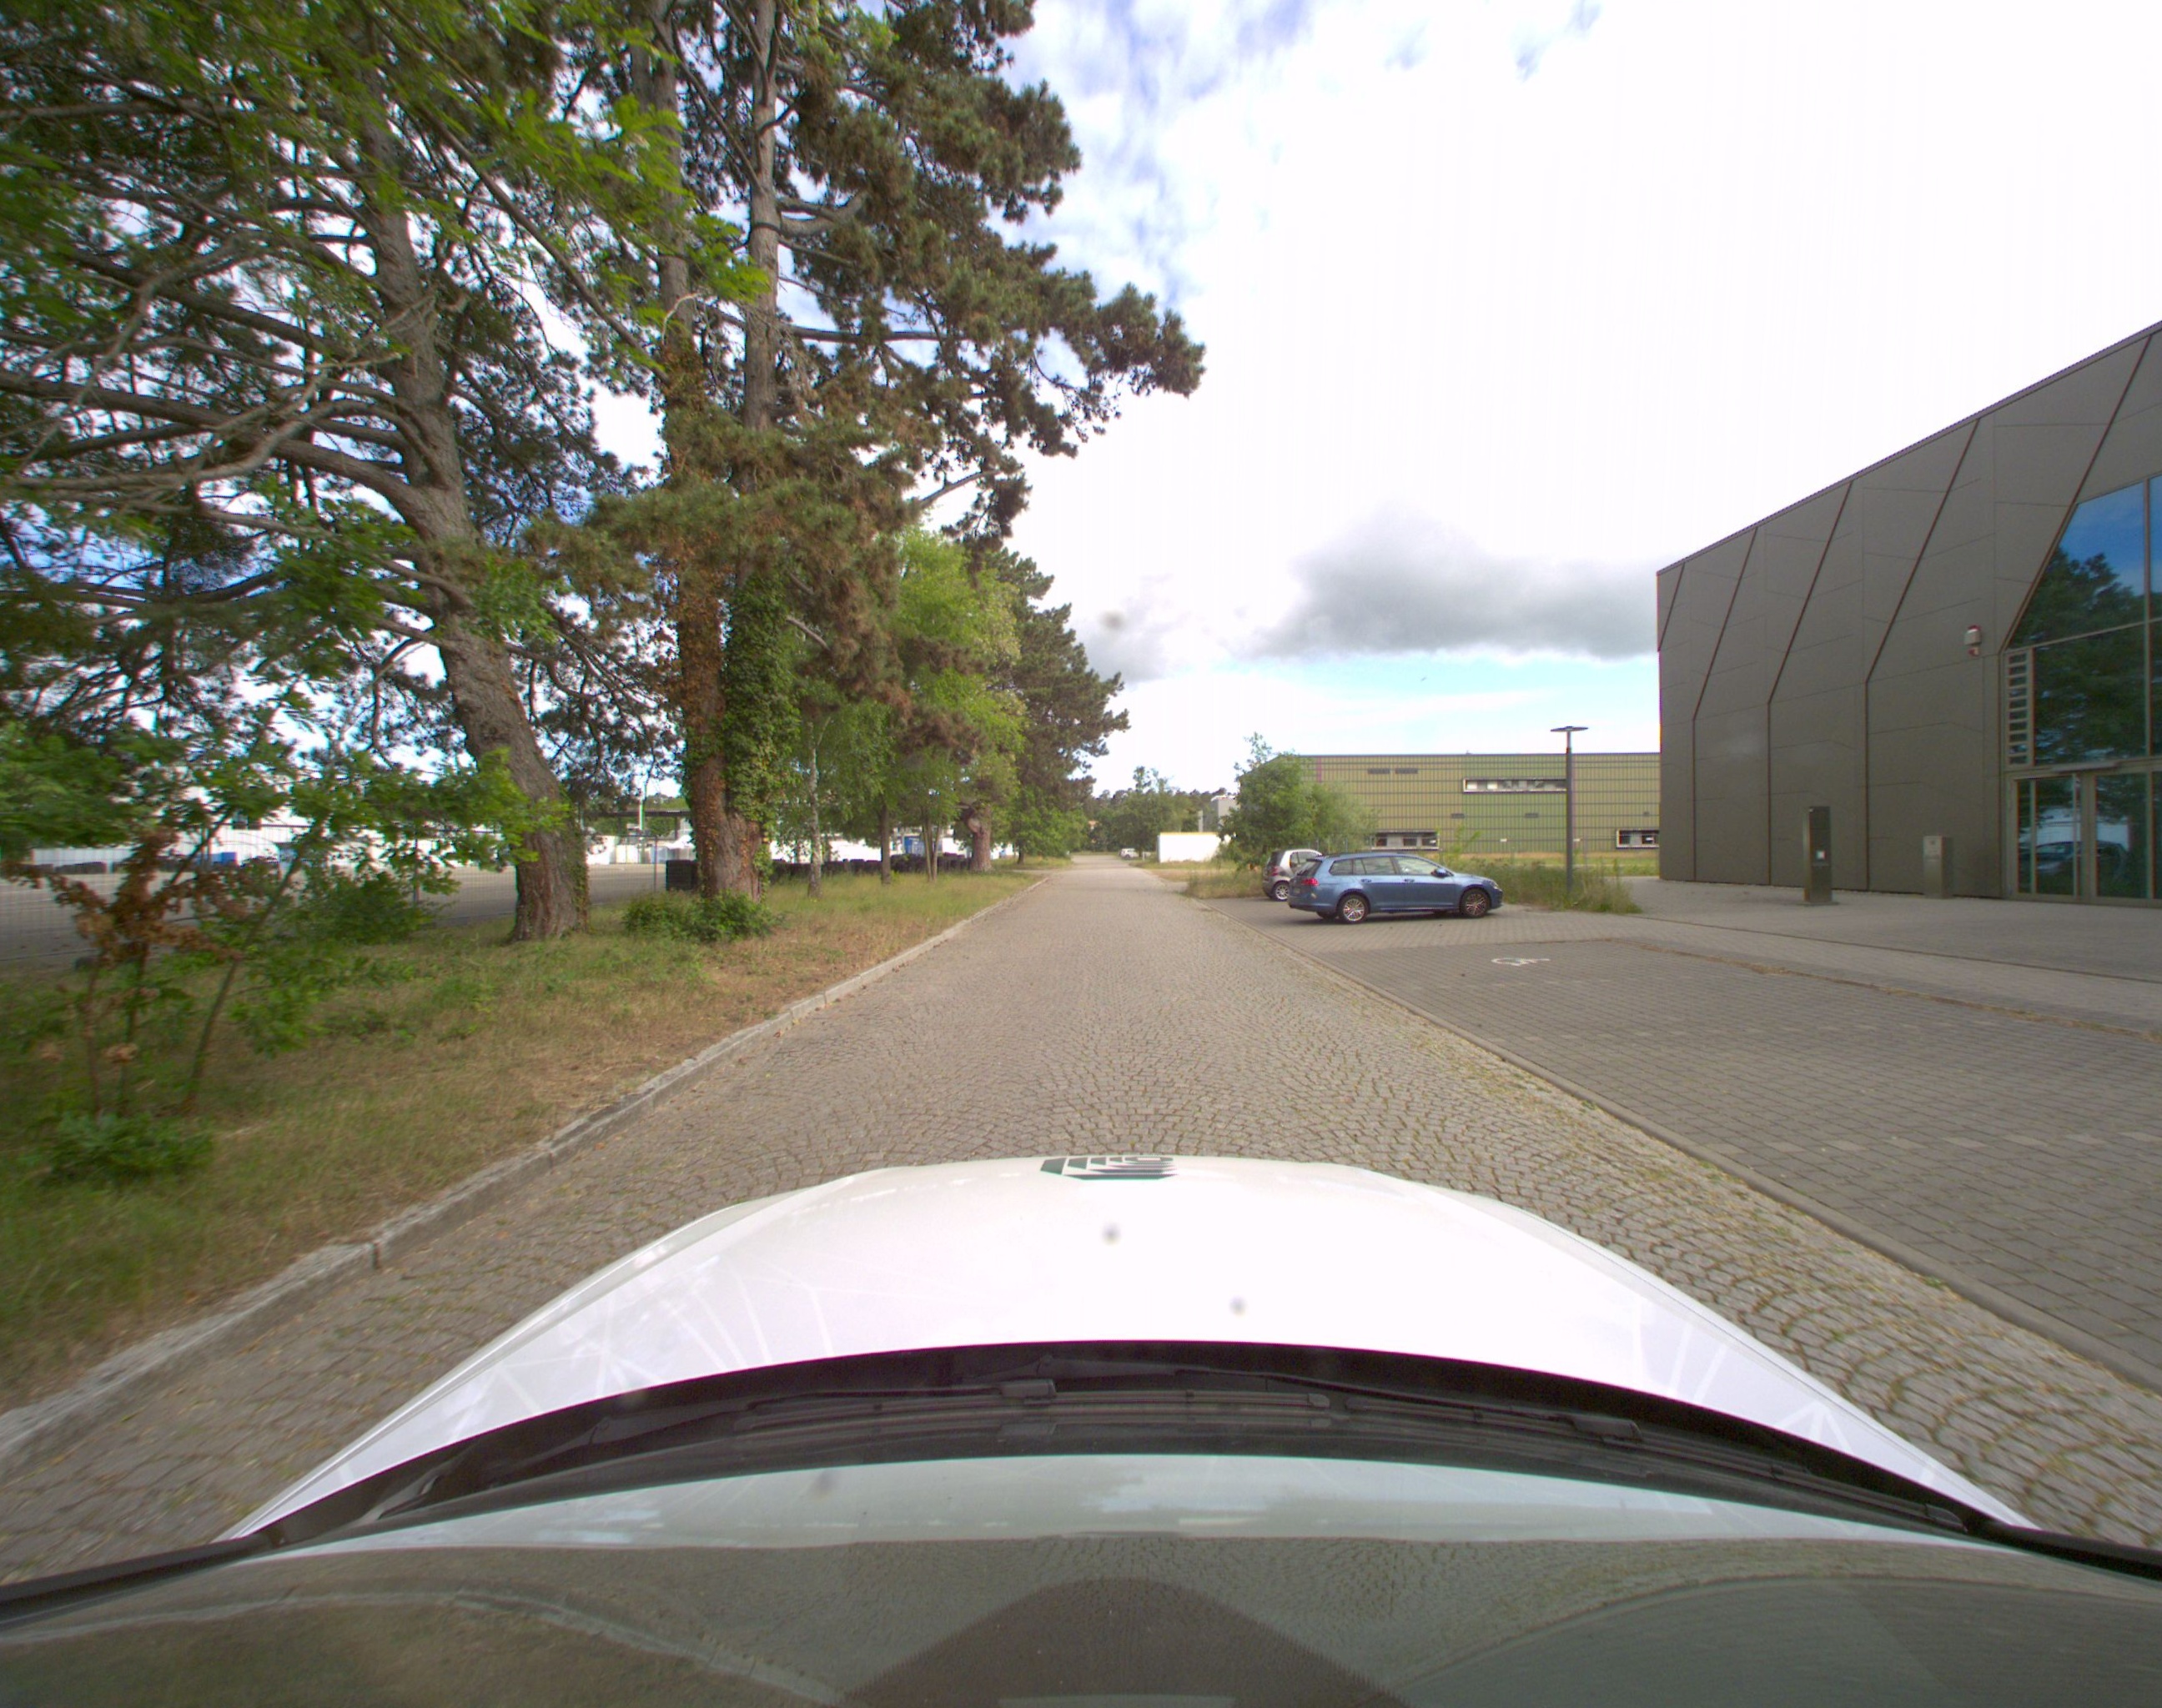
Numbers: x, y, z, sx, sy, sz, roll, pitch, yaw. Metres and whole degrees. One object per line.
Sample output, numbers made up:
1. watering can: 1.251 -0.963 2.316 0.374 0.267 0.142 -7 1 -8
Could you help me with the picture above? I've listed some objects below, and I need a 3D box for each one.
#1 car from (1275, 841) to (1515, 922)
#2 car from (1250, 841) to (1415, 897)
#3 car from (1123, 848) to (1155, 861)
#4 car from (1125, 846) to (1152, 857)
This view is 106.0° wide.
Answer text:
1. car: 6.772 0.559 17.906 4.506 1.531 1.998 -2 0 -3
2. car: 7.690 0.445 25.259 4.501 1.531 2.001 -2 0 1
3. car: 7.899 0.053 111.486 4.340 1.687 1.925 0 0 0
4. car: 9.260 -0.466 132.472 4.337 1.780 1.926 0 0 2
